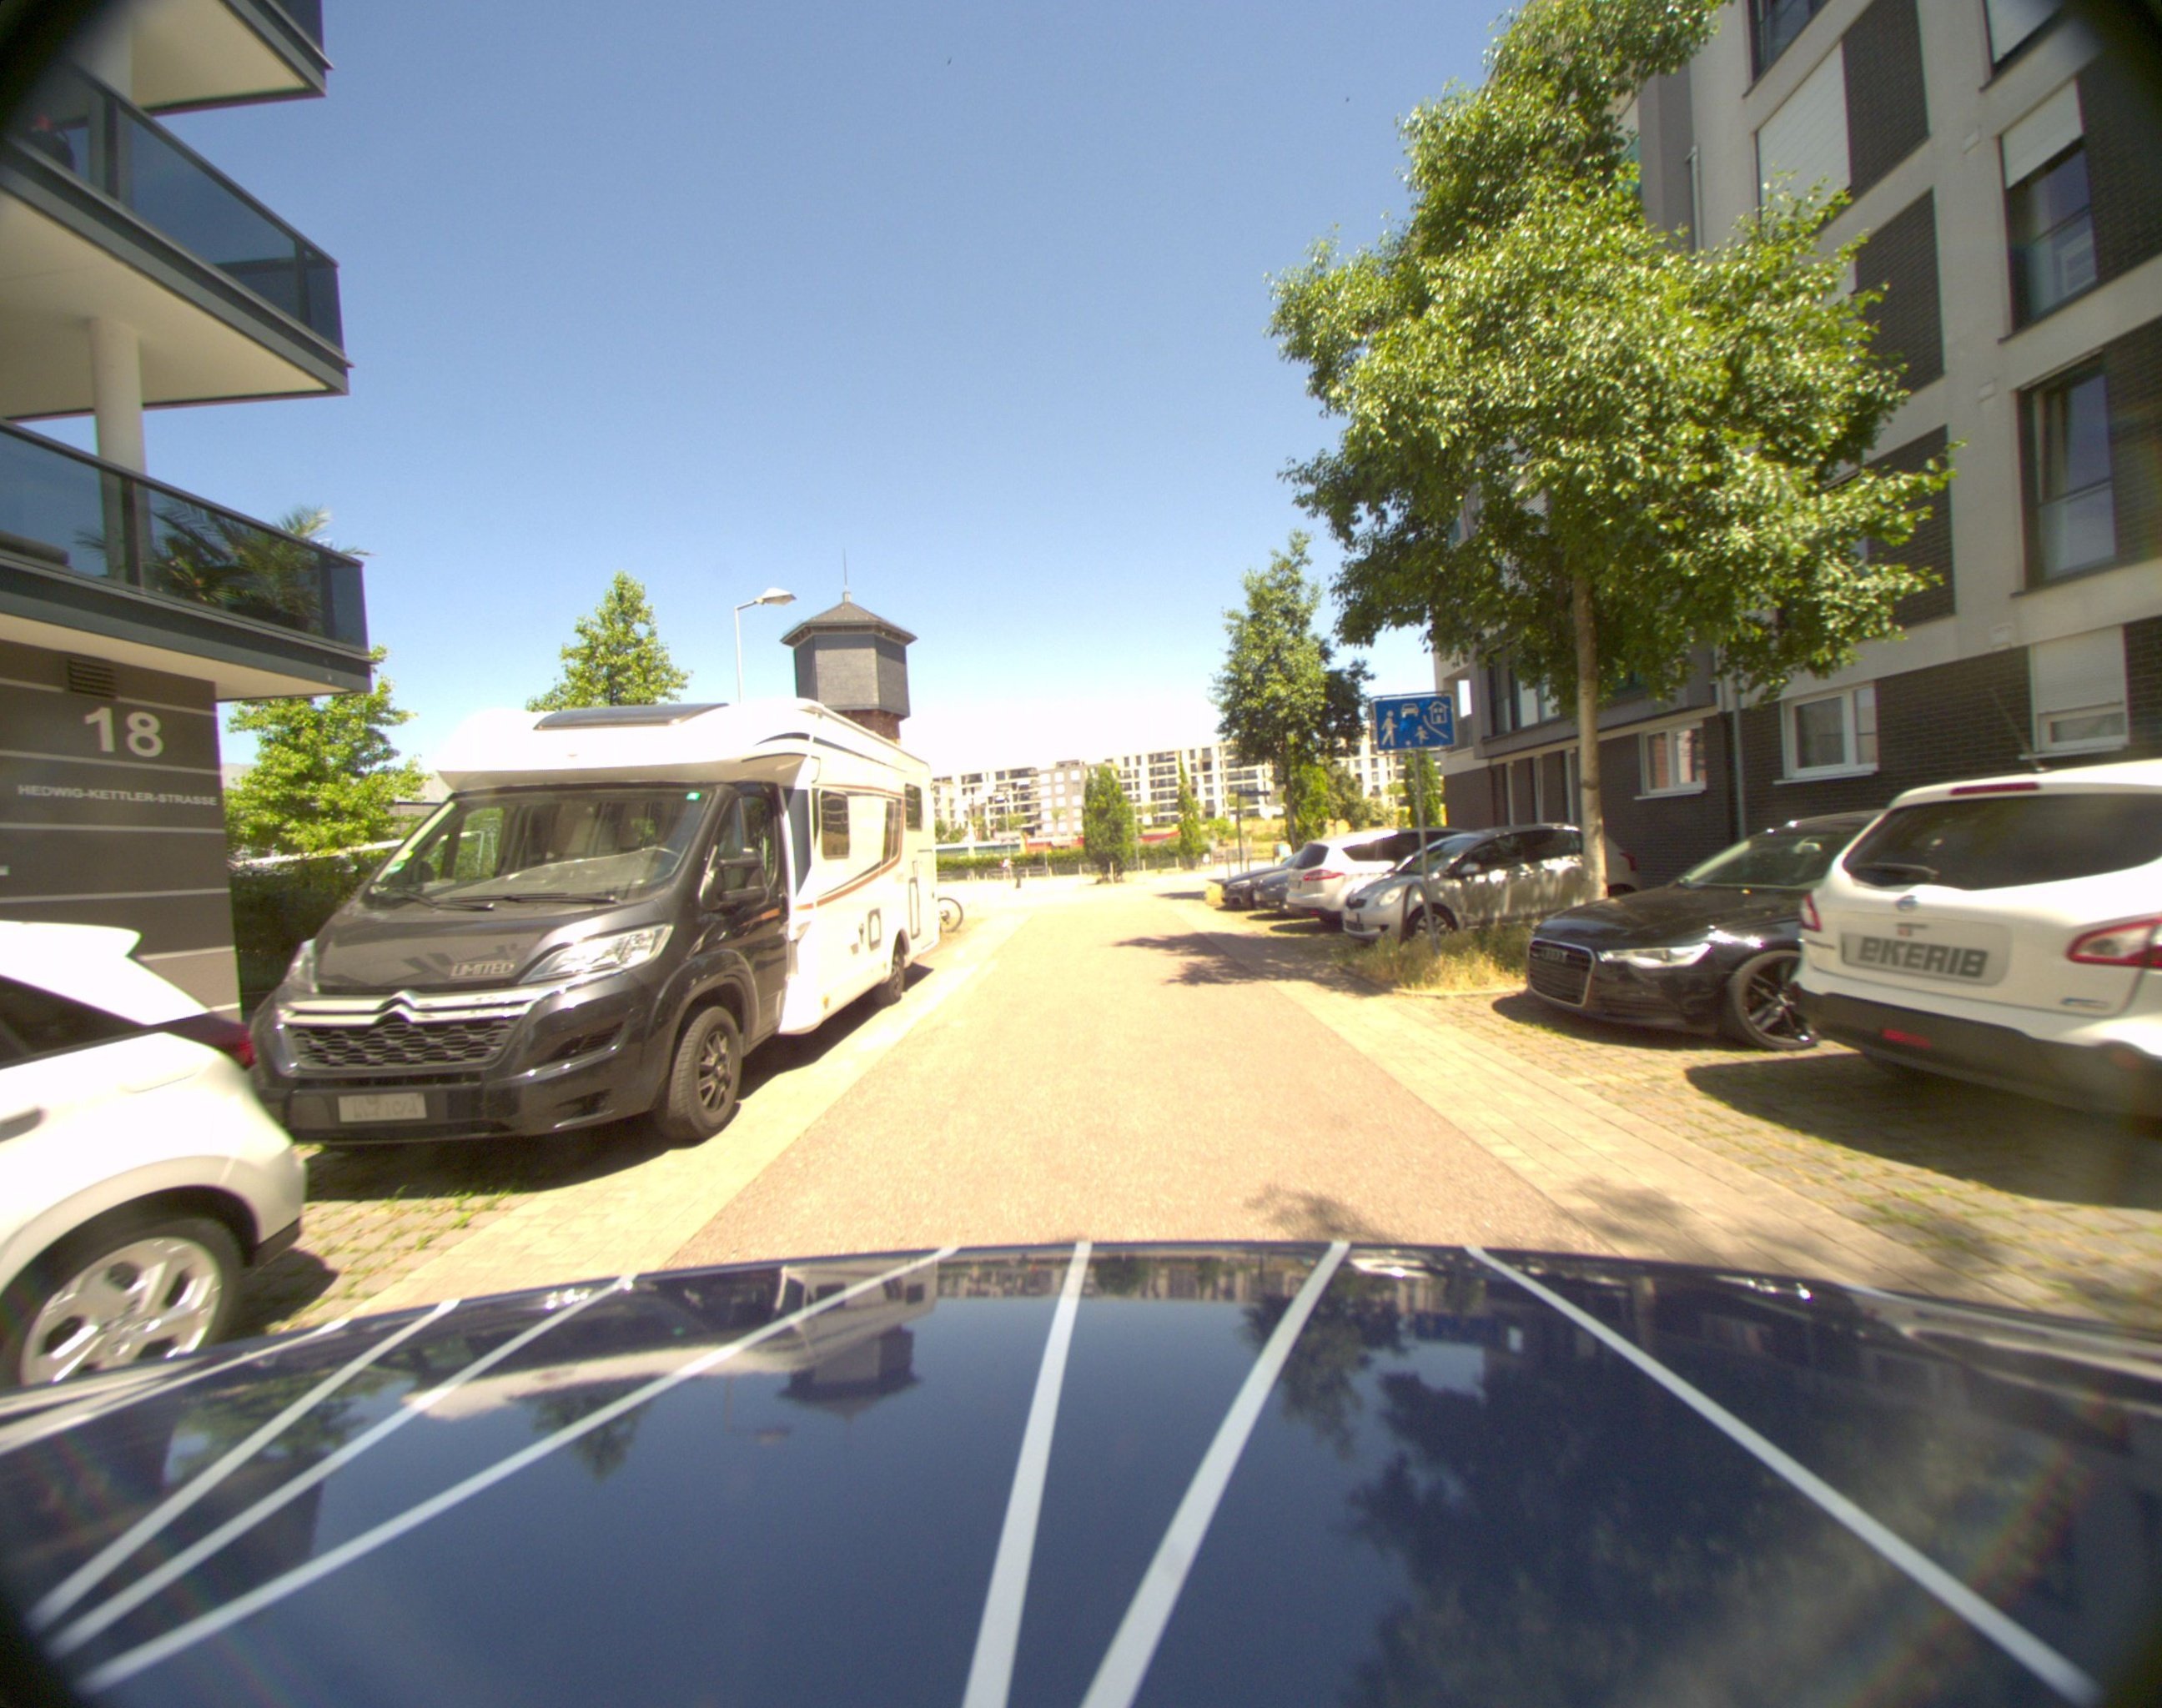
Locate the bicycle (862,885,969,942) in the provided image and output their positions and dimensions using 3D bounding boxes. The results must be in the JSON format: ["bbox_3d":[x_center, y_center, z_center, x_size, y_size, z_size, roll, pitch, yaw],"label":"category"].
[{"bbox_3d":[-3.344,1.191,15.523,2.033,0.997,0.874,-3,1,-11],"label":"bicycle"}]

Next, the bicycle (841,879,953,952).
[{"bbox_3d":[-3.353,1.112,13.929,1.854,1.215,0.555,-3,1,3],"label":"bicycle"}]

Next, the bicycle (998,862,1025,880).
[{"bbox_3d":[-5.265,1.296,57.517,1.937,1.192,0.592,-4,1,31],"label":"bicycle"}]

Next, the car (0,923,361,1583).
[{"bbox_3d":[-3.513,1.042,0.589,1.812,1.496,4.260,-2,1,-1],"label":"car"}]

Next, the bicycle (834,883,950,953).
[{"bbox_3d":[-3.356,1.131,13.552,1.887,1.104,0.476,-3,1,3],"label":"bicycle"}]

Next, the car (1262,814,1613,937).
[{"bbox_3d":[5.945,0.344,13.143,5.041,1.623,2.042,-4,0,-1],"label":"car"}]

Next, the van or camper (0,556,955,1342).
[{"bbox_3d":[-3.142,0.325,6.858,2.445,2.889,7.825,-4,1,0],"label":"van or camper"}]

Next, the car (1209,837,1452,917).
[{"bbox_3d":[5.843,0.506,18.209,5.112,1.476,1.927,-4,1,-1],"label":"car"}]

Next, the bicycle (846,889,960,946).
[{"bbox_3d":[-3.394,1.212,14.566,1.856,0.969,0.946,-2,1,14],"label":"bicycle"}]

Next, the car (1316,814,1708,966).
[{"bbox_3d":[5.698,0.448,10.430,4.262,1.522,1.822,-5,0,-2],"label":"car"}]

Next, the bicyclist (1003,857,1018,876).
[{"bbox_3d":[-5.333,0.951,57.545,0.659,1.426,0.734,-4,1,31],"label":"bicyclist"}]

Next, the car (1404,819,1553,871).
[{"bbox_3d":[14.144,-0.288,27.173,4.395,1.510,1.779,-4,-1,-4],"label":"car"}]

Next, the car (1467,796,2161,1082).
[{"bbox_3d":[5.814,0.500,5.645,4.862,1.448,1.829,-5,1,2],"label":"car"}]

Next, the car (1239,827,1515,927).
[{"bbox_3d":[5.904,0.422,15.562,4.830,1.441,1.827,-6,1,-1],"label":"car"}]

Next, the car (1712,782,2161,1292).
[{"bbox_3d":[5.548,0.460,3.204,3.989,1.620,1.950,-5,1,4],"label":"car"}]
